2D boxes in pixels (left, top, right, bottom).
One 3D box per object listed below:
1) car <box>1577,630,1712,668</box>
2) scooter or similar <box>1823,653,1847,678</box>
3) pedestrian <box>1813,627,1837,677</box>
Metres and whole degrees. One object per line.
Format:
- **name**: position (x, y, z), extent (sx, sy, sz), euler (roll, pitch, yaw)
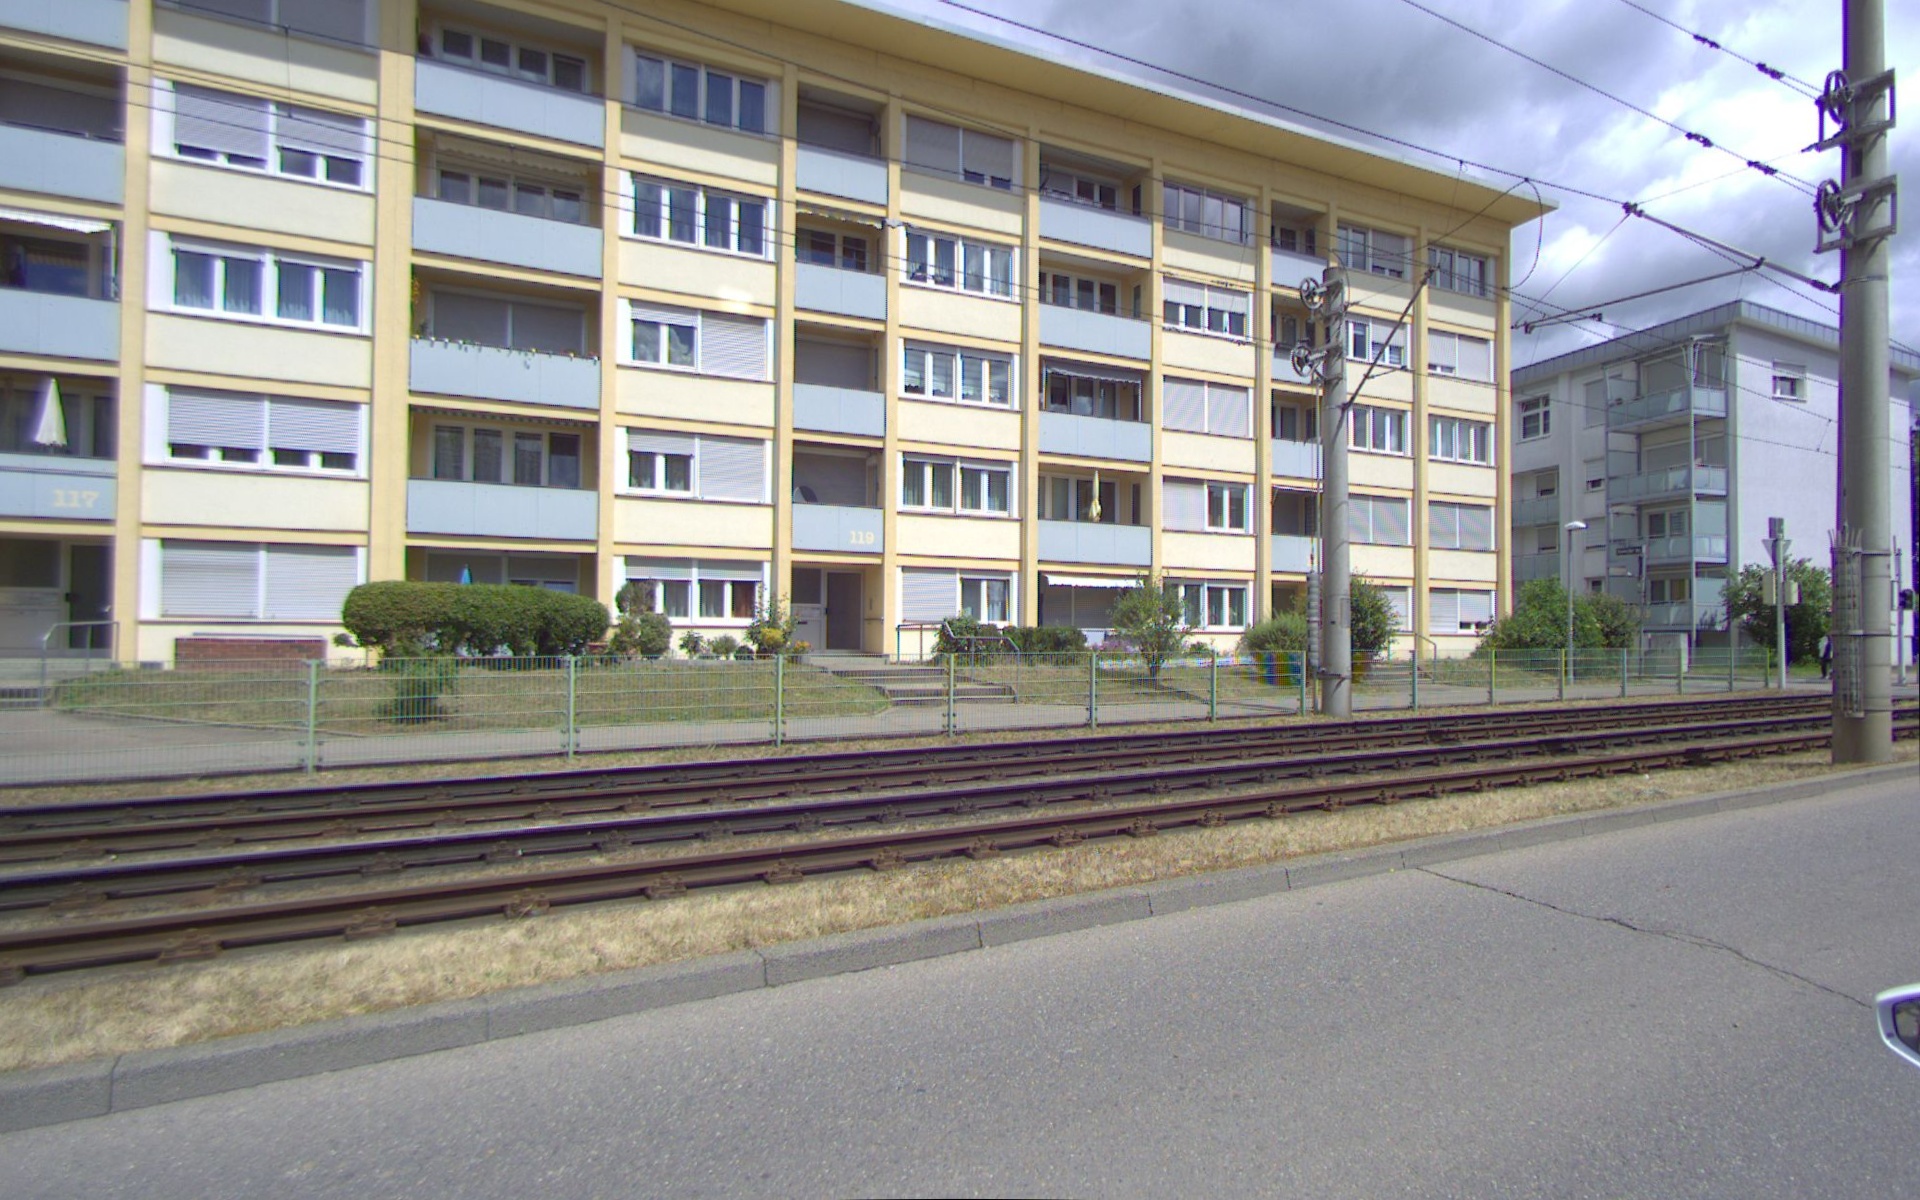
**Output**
- **car**: position (26.334, 1.851, 38.783), extent (1.873, 1.363, 3.980), euler (1, -2, -21)
- **scooter or similar**: position (27.967, 2.094, 32.108), extent (0.468, 0.757, 0.436), euler (1, -1, -25)
- **pedestrian**: position (28.104, 1.670, 32.630), extent (0.468, 1.601, 0.436), euler (1, -1, -25)
